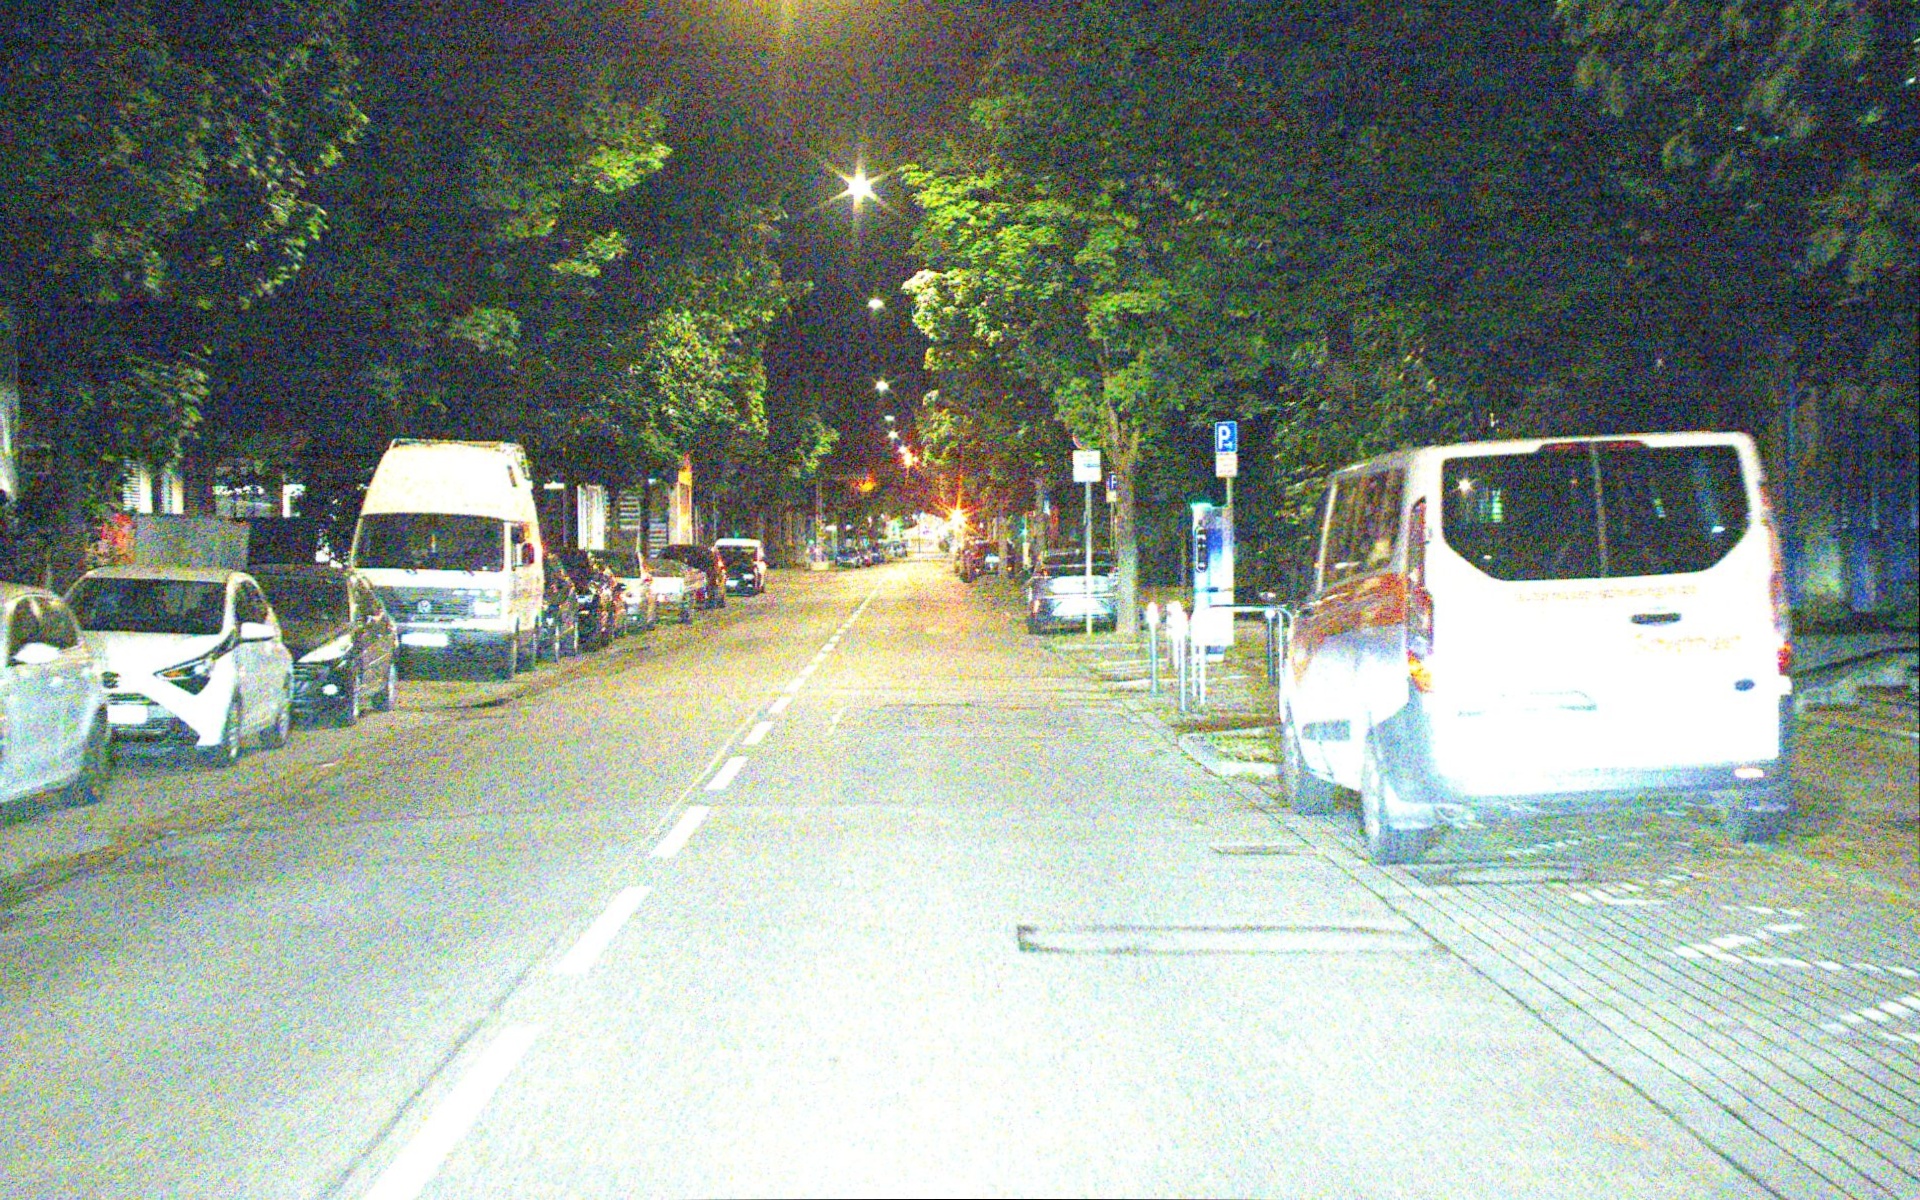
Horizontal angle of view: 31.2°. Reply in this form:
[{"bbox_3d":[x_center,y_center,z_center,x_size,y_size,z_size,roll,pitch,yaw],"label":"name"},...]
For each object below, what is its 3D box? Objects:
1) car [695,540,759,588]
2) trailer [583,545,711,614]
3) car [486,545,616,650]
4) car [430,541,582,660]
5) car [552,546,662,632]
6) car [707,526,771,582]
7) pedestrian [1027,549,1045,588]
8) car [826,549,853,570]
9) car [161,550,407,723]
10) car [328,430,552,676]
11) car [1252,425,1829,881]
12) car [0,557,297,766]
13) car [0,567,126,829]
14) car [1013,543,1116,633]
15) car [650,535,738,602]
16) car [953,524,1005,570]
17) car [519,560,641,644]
[{"bbox_3d":[-7.417,-1.161,109.543,1.700,1.428,3.828,3,1,0],"label":"car"},{"bbox_3d":[-6.587,-0.463,72.911,2.110,1.330,5.435,2,1,1],"label":"trailer"},{"bbox_3d":[-6.465,-0.072,54.657,1.742,1.601,4.299,0,1,-3],"label":"car"},{"bbox_3d":[-6.423,-0.028,49.008,1.742,1.601,4.116,1,1,-2],"label":"car"},{"bbox_3d":[-6.675,-0.236,65.310,1.716,1.496,4.206,2,1,-1],"label":"car"},{"bbox_3d":[-7.541,-1.593,117.606,1.822,1.805,4.210,3,1,1],"label":"car"},{"bbox_3d":[3.420,-1.414,155.093,0.705,1.716,0.821,-2,1,0],"label":"pedestrian"},{"bbox_3d":[-8.305,-2.800,237.788,1.740,1.411,3.752,0,1,0],"label":"car"},{"bbox_3d":[-6.356,0.297,32.677,1.645,1.499,3.861,2,1,-2],"label":"car"},{"bbox_3d":[-6.503,-0.608,43.520,2.179,2.899,4.910,1,1,-2],"label":"car"},{"bbox_3d":[2.786,0.190,17.619,1.950,1.957,4.604,-2,1,-2],"label":"car"},{"bbox_3d":[-6.170,0.422,26.436,1.547,1.450,3.368,1,1,-2],"label":"car"},{"bbox_3d":[-6.140,0.534,20.500,1.444,1.425,3.904,2,1,-2],"label":"car"},{"bbox_3d":[1.811,-0.236,59.757,1.668,1.424,4.148,-2,1,2],"label":"car"},{"bbox_3d":[-6.776,-0.822,87.880,1.822,1.593,4.073,3,1,1],"label":"car"},{"bbox_3d":[0.703,-2.010,130.448,1.853,1.648,4.209,-2,1,0],"label":"car"},{"bbox_3d":[-6.586,0.008,59.925,1.704,1.407,4.634,0,1,-1],"label":"car"}]
